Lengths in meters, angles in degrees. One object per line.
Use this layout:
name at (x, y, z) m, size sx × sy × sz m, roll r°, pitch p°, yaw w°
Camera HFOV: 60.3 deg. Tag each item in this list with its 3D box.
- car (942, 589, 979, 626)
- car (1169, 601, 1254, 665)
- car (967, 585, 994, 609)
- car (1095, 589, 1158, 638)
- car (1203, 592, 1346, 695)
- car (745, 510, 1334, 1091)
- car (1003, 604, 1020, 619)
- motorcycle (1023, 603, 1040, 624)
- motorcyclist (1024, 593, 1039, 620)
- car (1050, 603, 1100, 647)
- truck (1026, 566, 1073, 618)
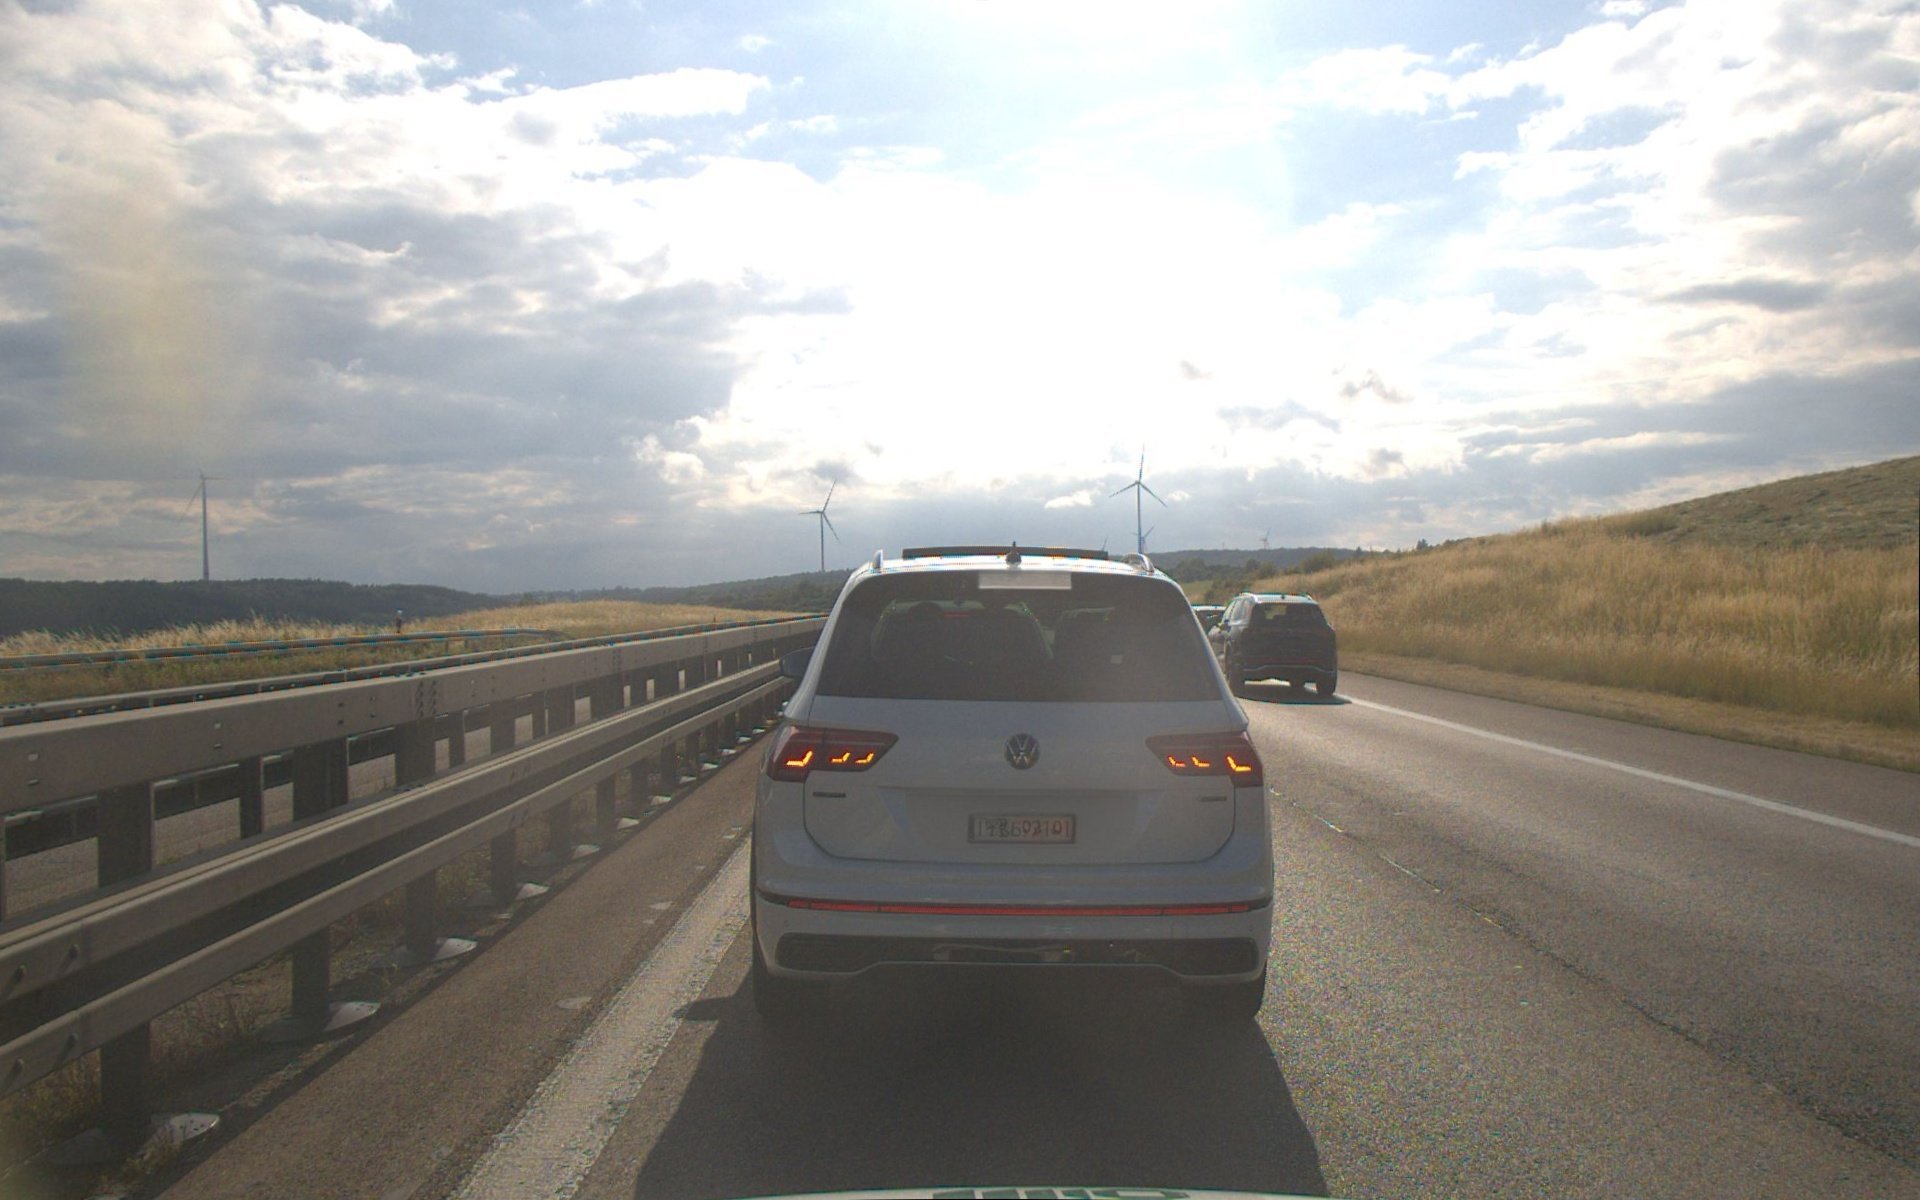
car at (0.001, 0.353, 78.621) m, size 1.669 × 1.679 × 3.999 m, roll 0°, pitch 0°, yaw -1°
car at (5.927, 0.759, 39.337) m, size 1.572 × 1.445 × 3.673 m, roll 0°, pitch 0°, yaw 2°
car at (1.340, -0.200, 110.187) m, size 1.669 × 1.573 × 3.999 m, roll 0°, pitch 0°, yaw -1°
car at (5.566, 0.448, 55.782) m, size 1.669 × 1.573 × 3.999 m, roll 0°, pitch 0°, yaw -1°
car at (5.460, 0.726, 29.159) m, size 1.783 × 1.629 × 4.235 m, roll 2°, pitch 0°, yaw 2°
car at (0.214, 0.600, 6.875) m, size 1.734 × 1.705 × 3.999 m, roll 0°, pitch 0°, yaw -1°
car at (5.527, 1.265, 178.017) m, size 1.669 × 1.573 × 3.999 m, roll 0°, pitch 0°, yaw -1°
motorcycle at (4.234, 0.797, 97.961) m, size 0.877 × 1.211 × 2.256 m, roll 0°, pitch 0°, yaw -1°
motorcyclist at (4.238, 0.398, 97.919) m, size 0.832 × 1.587 × 0.934 m, roll 0°, pitch -1°, yaw -1°
car at (4.526, 0.961, 65.532) m, size 1.669 × 1.679 × 3.999 m, roll 0°, pitch 0°, yaw -1°
truck at (6.565, -0.615, 122.735) m, size 3.118 × 3.656 × 11.132 m, roll 0°, pitch 0°, yaw 1°
